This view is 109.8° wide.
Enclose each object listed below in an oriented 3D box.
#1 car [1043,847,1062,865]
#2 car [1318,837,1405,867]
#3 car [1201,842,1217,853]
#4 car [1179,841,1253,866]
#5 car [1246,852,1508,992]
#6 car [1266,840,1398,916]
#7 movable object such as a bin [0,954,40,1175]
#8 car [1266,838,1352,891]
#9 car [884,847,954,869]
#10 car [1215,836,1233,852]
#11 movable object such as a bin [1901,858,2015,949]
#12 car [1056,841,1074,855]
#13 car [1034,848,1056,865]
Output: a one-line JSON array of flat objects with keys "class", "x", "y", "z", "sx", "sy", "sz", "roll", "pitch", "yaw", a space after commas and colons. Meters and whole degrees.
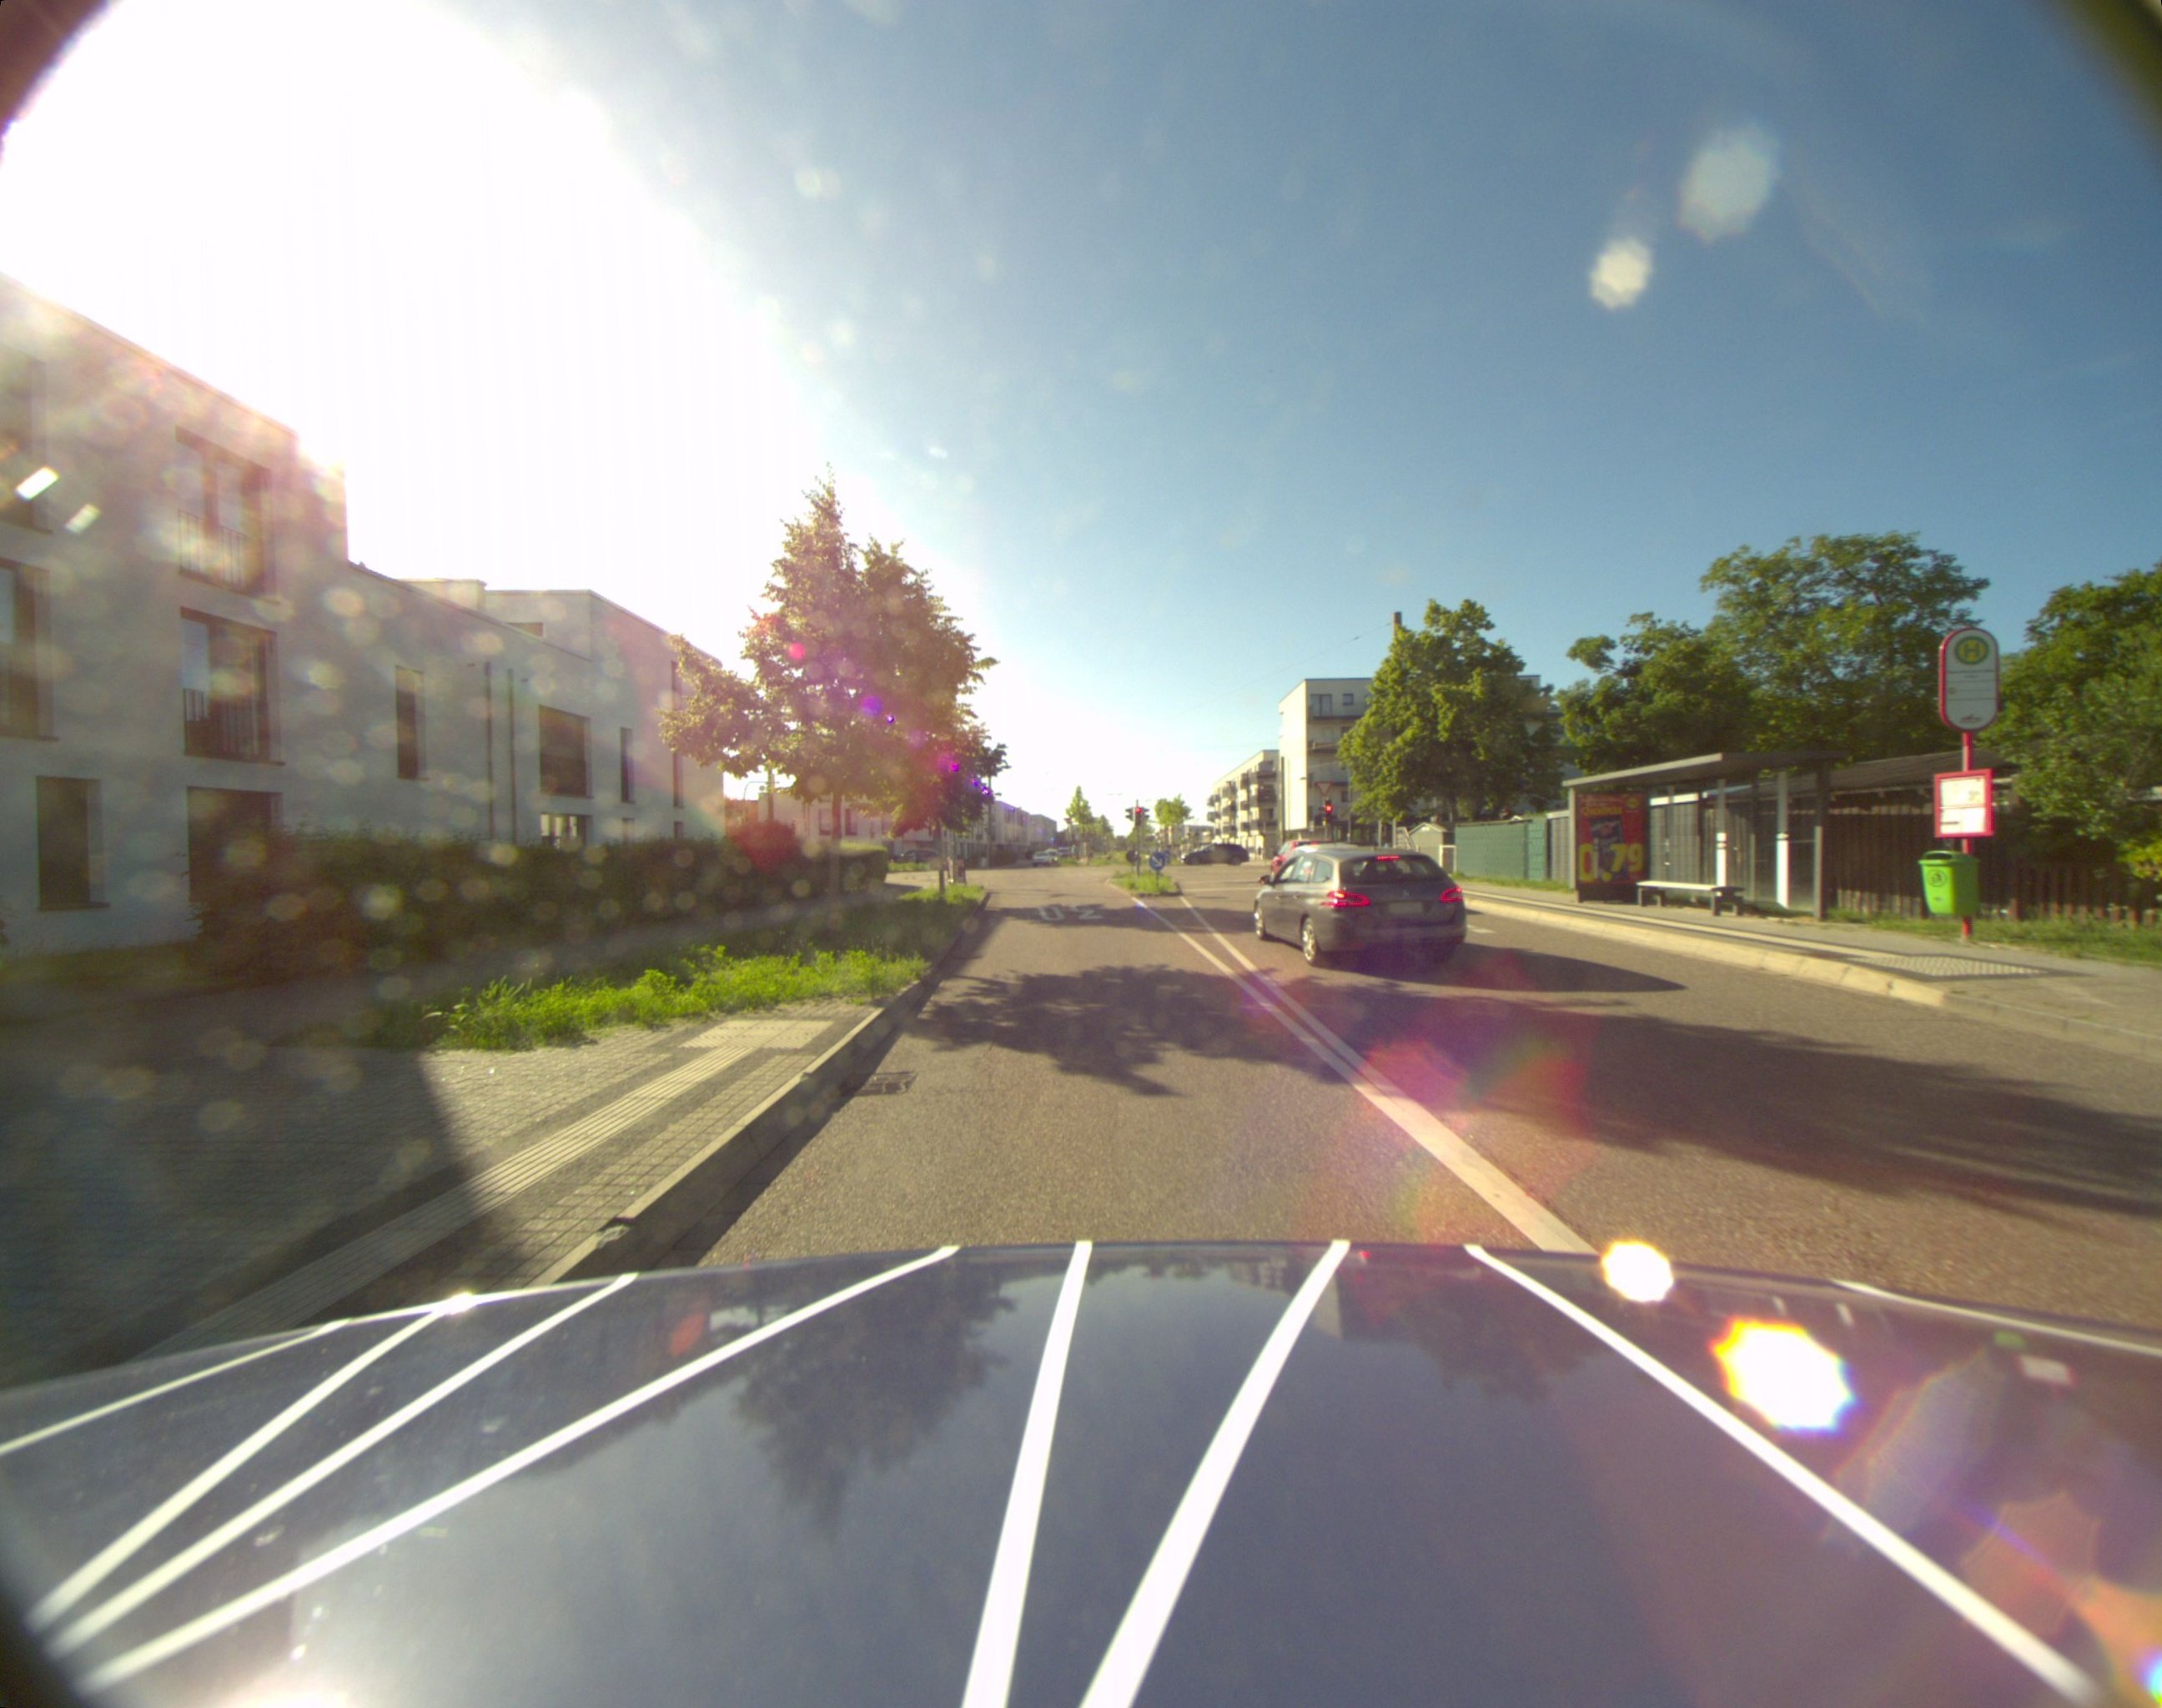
[{"class": "car", "x": -3.334, "y": 0.216, "z": 89.597, "sx": 1.998, "sy": 2.002, "sz": 4.000, "roll": -1, "pitch": 1, "yaw": 1}, {"class": "car", "x": 16.632, "y": -0.126, "z": 45.238, "sx": 4.406, "sy": 1.663, "sz": 1.998, "roll": 0, "pitch": 2, "yaw": -5}, {"class": "car", "x": 19.639, "y": -1.075, "z": 117.087, "sx": 1.998, "sy": 1.545, "sz": 3.999, "roll": 0, "pitch": 3, "yaw": 3}, {"class": "car", "x": 9.945, "y": -0.035, "z": 56.288, "sx": 5.194, "sy": 1.727, "sz": 2.000, "roll": -1, "pitch": 1, "yaw": 3}, {"class": "car", "x": 3.771, "y": 0.752, "z": 10.664, "sx": 1.998, "sy": 1.435, "sz": 4.450, "roll": -2, "pitch": 1, "yaw": 2}, {"class": "car", "x": 5.897, "y": 0.485, "z": 18.477, "sx": 2.214, "sy": 1.582, "sz": 4.536, "roll": -1, "pitch": 1, "yaw": 7}, {"class": "movable object such as a bin", "x": -5.199, "y": 0.995, "z": 3.356, "sx": 0.370, "sy": 1.010, "sz": 0.599, "roll": -1, "pitch": 1, "yaw": -8}, {"class": "car", "x": 7.525, "y": 0.294, "z": 25.480, "sx": 1.944, "sy": 1.579, "sz": 4.182, "roll": -1, "pitch": 1, "yaw": 5}, {"class": "car", "x": -11.984, "y": 0.295, "z": 56.362, "sx": 4.737, "sy": 1.525, "sz": 1.973, "roll": -1, "pitch": 1, "yaw": -1}, {"class": "car", "x": 18.990, "y": -1.306, "z": 101.218, "sx": 1.998, "sy": 2.003, "sz": 3.999, "roll": 0, "pitch": 3, "yaw": 5}, {"class": "movable object such as a bin", "x": 10.005, "y": 0.554, "z": 8.690, "sx": 0.594, "sy": 0.962, "sz": 0.558, "roll": -5, "pitch": 1, "yaw": 5}, {"class": "car", "x": -2.406, "y": -0.930, "z": 114.584, "sx": 1.997, "sy": 2.002, "sz": 4.002, "roll": 0, "pitch": 1, "yaw": 9}, {"class": "car", "x": -3.868, "y": 0.252, "z": 82.080, "sx": 2.007, "sy": 1.655, "sz": 4.000, "roll": -1, "pitch": 1, "yaw": 1}]
